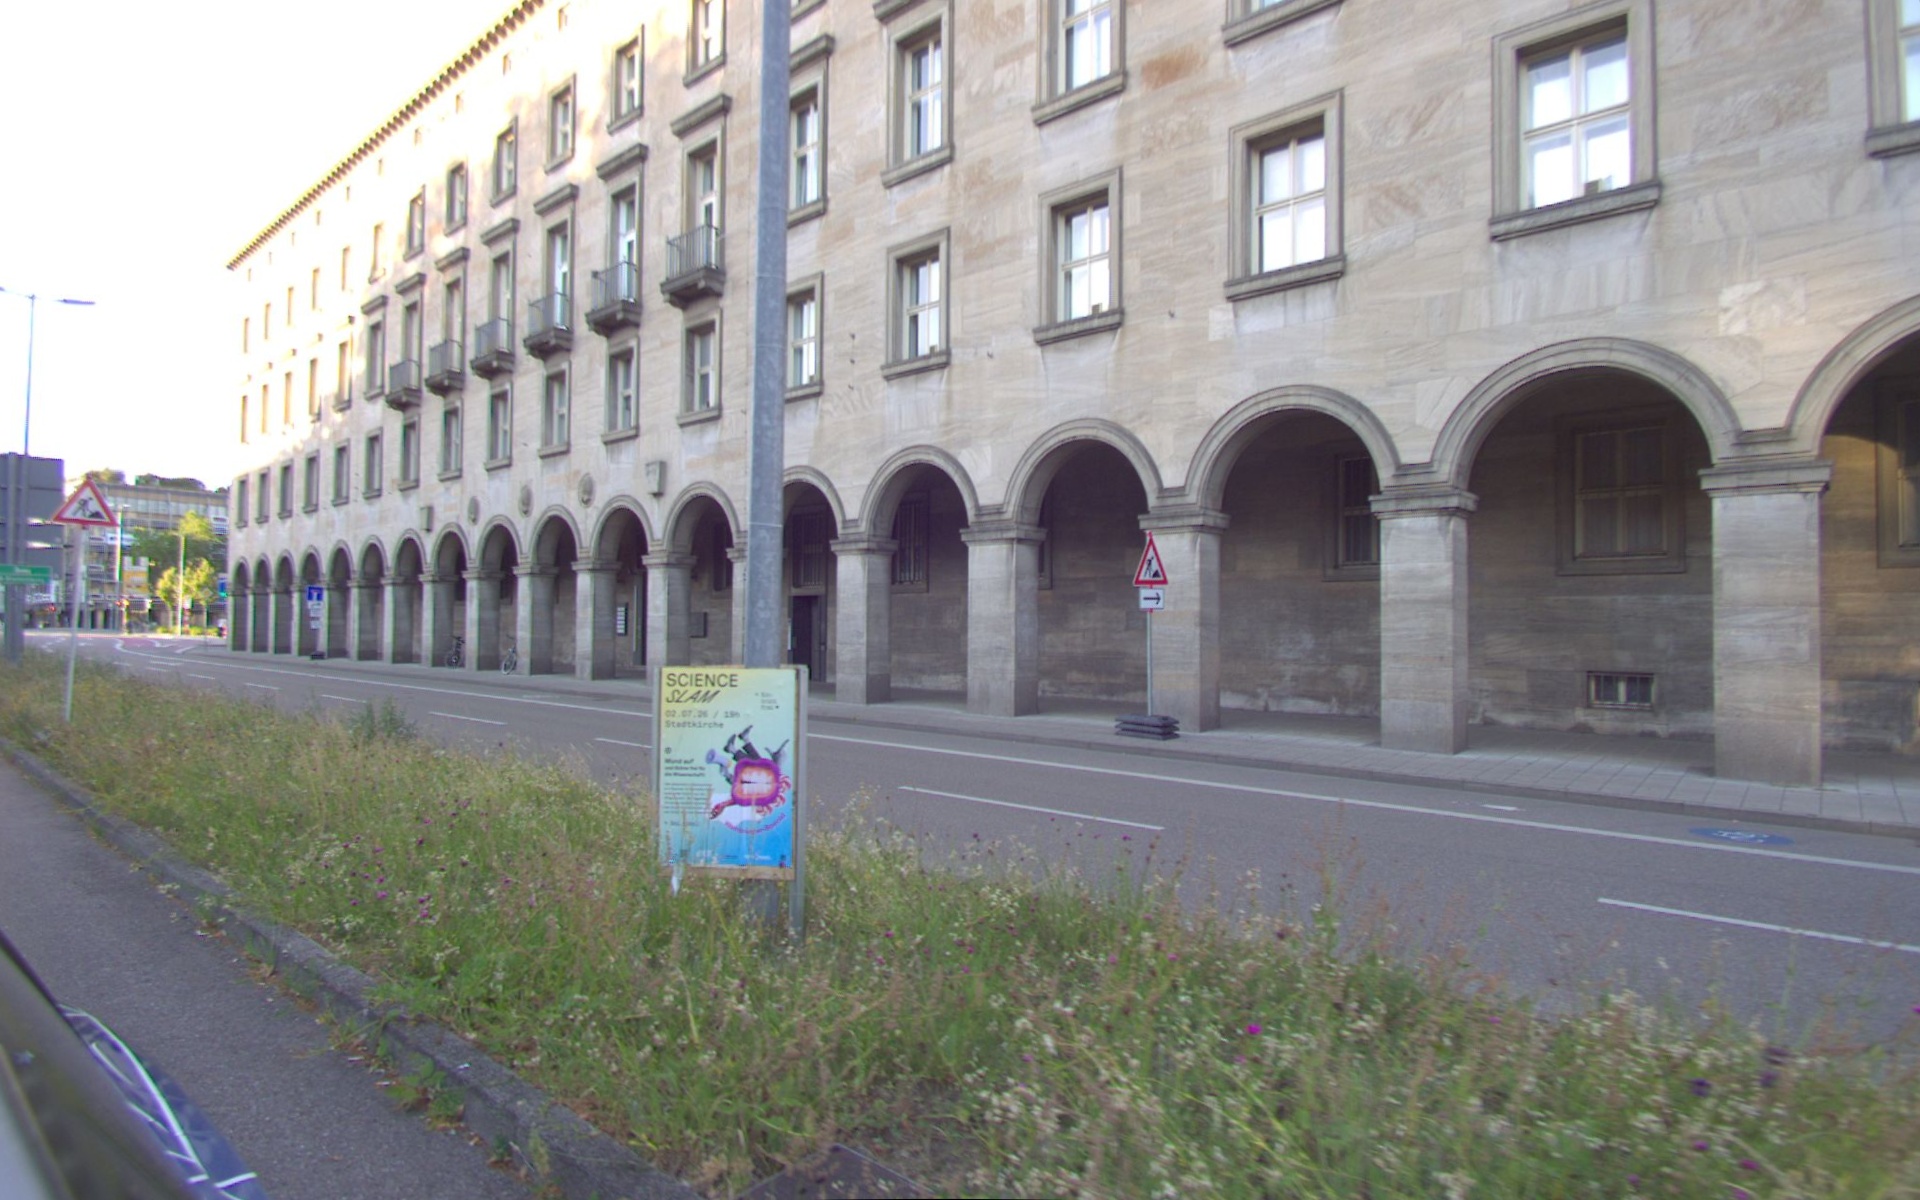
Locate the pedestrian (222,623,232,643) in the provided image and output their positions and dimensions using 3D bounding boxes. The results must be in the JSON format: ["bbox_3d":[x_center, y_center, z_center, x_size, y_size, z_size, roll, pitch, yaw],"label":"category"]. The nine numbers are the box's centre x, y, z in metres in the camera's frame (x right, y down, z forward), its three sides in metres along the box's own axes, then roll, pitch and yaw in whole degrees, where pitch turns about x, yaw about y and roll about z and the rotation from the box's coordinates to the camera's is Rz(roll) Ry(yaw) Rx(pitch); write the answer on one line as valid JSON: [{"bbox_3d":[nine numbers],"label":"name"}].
[{"bbox_3d":[-57.040,2.565,78.745,0.389,1.553,0.519,-1,-3,41],"label":"pedestrian"}]

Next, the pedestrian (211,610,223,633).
[{"bbox_3d":[-57.471,1.665,78.255,0.506,1.771,0.630,-1,-3,41],"label":"pedestrian"}]

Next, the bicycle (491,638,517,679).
[{"bbox_3d":[-13.938,1.765,30.983,0.505,1.130,2.431,1,-1,-20],"label":"bicycle"}]

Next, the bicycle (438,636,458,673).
[{"bbox_3d":[-17.270,1.816,34.153,0.505,1.188,2.431,2,-2,-25],"label":"bicycle"}]
